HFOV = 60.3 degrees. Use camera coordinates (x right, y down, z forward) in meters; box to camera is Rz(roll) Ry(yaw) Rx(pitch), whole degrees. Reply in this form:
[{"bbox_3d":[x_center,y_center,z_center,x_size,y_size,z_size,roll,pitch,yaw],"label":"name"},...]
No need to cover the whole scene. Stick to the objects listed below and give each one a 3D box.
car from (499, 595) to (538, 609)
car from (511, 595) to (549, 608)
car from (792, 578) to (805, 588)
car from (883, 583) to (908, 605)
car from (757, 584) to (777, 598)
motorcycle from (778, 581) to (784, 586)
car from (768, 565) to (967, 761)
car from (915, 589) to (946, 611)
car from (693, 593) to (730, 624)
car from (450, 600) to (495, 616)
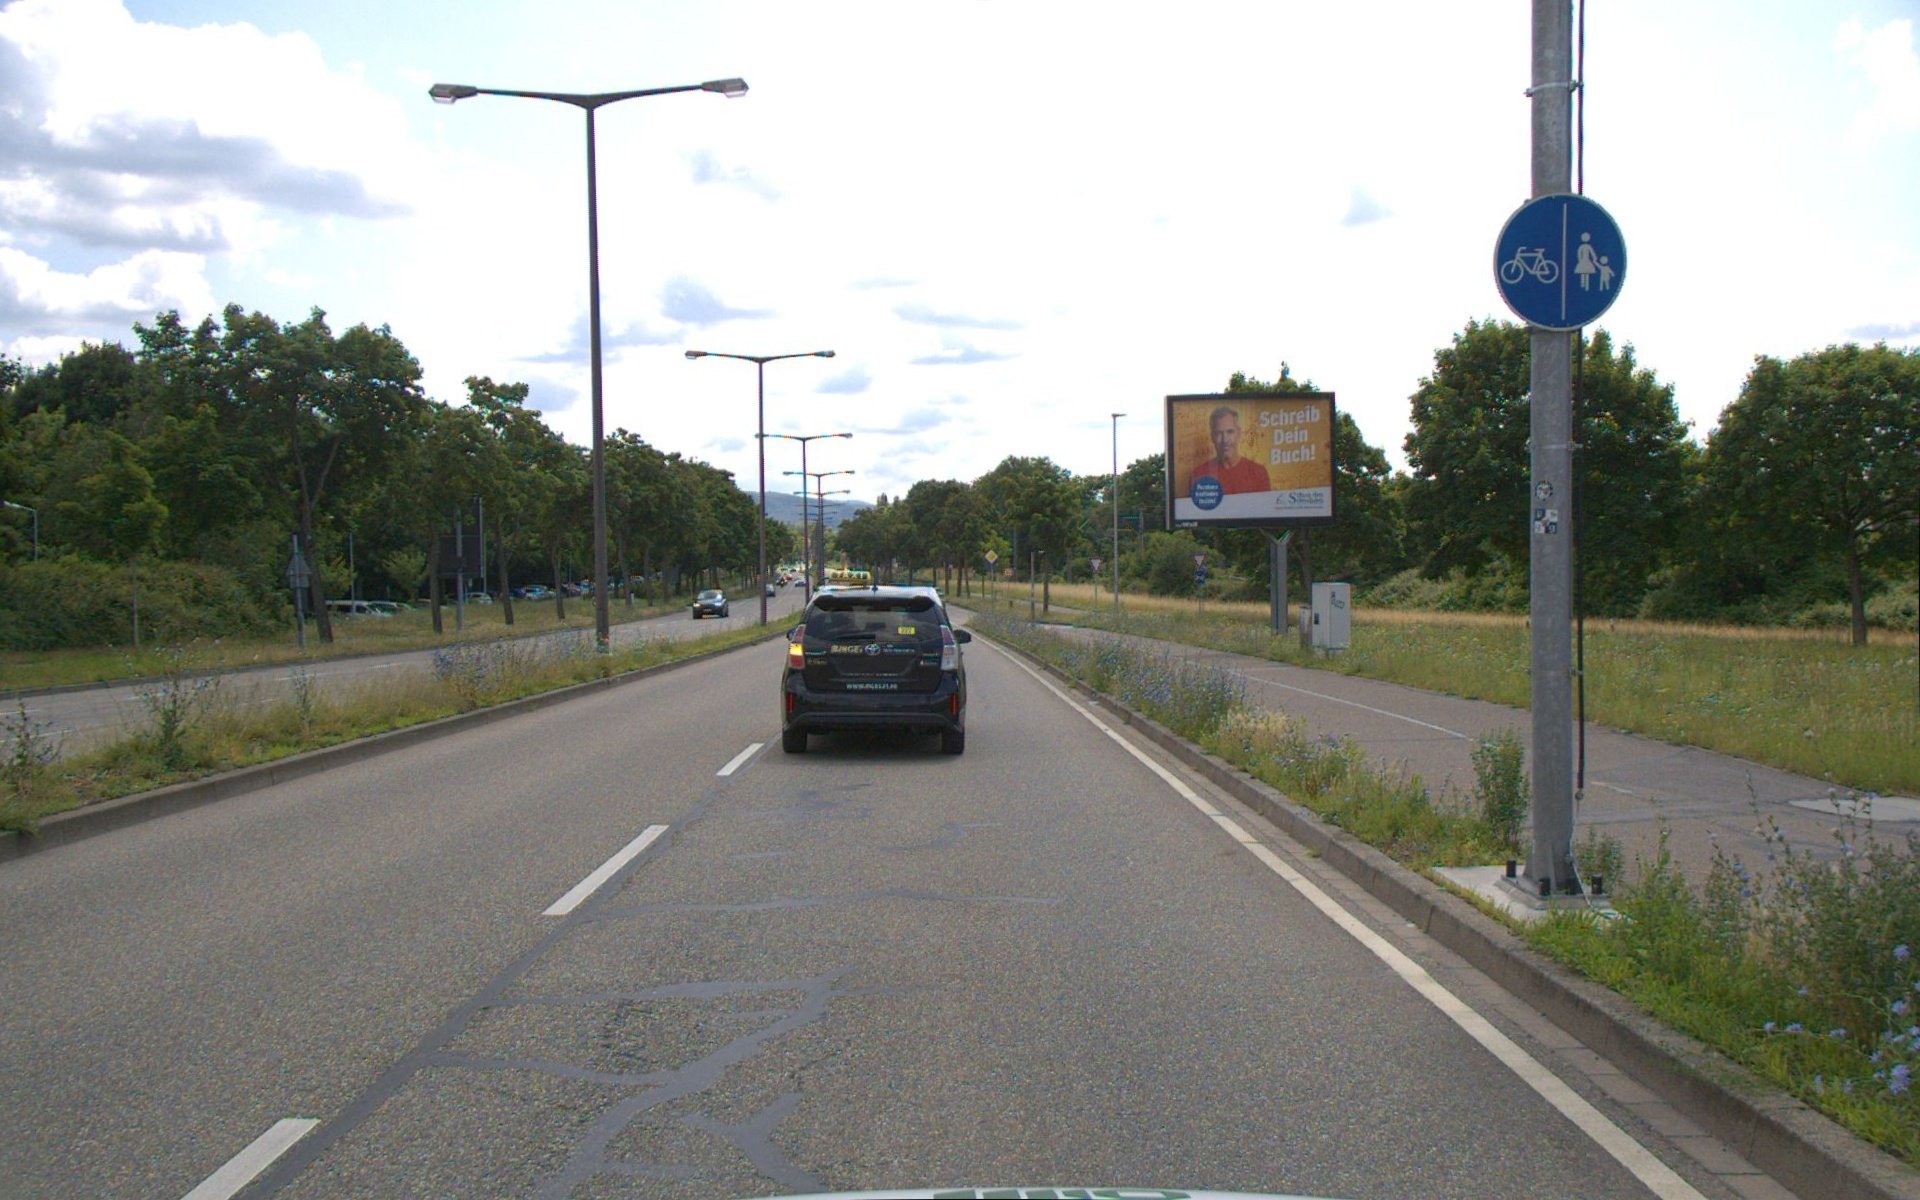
[{"bbox_3d":[-47.573,0.246,178.391,3.708,1.412,1.785,1,1,-1],"label":"car"},{"bbox_3d":[-47.387,0.181,182.355,3.708,1.412,1.785,1,1,-1],"label":"car"},{"bbox_3d":[-23.953,-2.505,245.950,1.775,1.422,4.730,-1,1,-4],"label":"car"},{"bbox_3d":[-5.301,-0.491,136.503,1.954,1.691,3.998,0,1,-4],"label":"car"},{"bbox_3d":[-20.649,-0.982,176.801,1.672,1.452,3.663,-1,0,-13],"label":"car"},{"bbox_3d":[-26.146,-2.419,241.034,0.737,0.785,2.670,0,1,-4],"label":"motorcycle"},{"bbox_3d":[-0.951,0.522,16.597,1.744,1.713,3.997,0,1,-4],"label":"car"},{"bbox_3d":[-2.215,-0.036,123.734,1.955,1.534,3.995,0,1,-6],"label":"car"},{"bbox_3d":[-15.671,0.559,104.565,1.839,1.821,4.725,-3,0,-3],"label":"car"},{"bbox_3d":[-45.661,0.733,154.942,3.711,1.453,1.784,0,1,-5],"label":"car"}]
